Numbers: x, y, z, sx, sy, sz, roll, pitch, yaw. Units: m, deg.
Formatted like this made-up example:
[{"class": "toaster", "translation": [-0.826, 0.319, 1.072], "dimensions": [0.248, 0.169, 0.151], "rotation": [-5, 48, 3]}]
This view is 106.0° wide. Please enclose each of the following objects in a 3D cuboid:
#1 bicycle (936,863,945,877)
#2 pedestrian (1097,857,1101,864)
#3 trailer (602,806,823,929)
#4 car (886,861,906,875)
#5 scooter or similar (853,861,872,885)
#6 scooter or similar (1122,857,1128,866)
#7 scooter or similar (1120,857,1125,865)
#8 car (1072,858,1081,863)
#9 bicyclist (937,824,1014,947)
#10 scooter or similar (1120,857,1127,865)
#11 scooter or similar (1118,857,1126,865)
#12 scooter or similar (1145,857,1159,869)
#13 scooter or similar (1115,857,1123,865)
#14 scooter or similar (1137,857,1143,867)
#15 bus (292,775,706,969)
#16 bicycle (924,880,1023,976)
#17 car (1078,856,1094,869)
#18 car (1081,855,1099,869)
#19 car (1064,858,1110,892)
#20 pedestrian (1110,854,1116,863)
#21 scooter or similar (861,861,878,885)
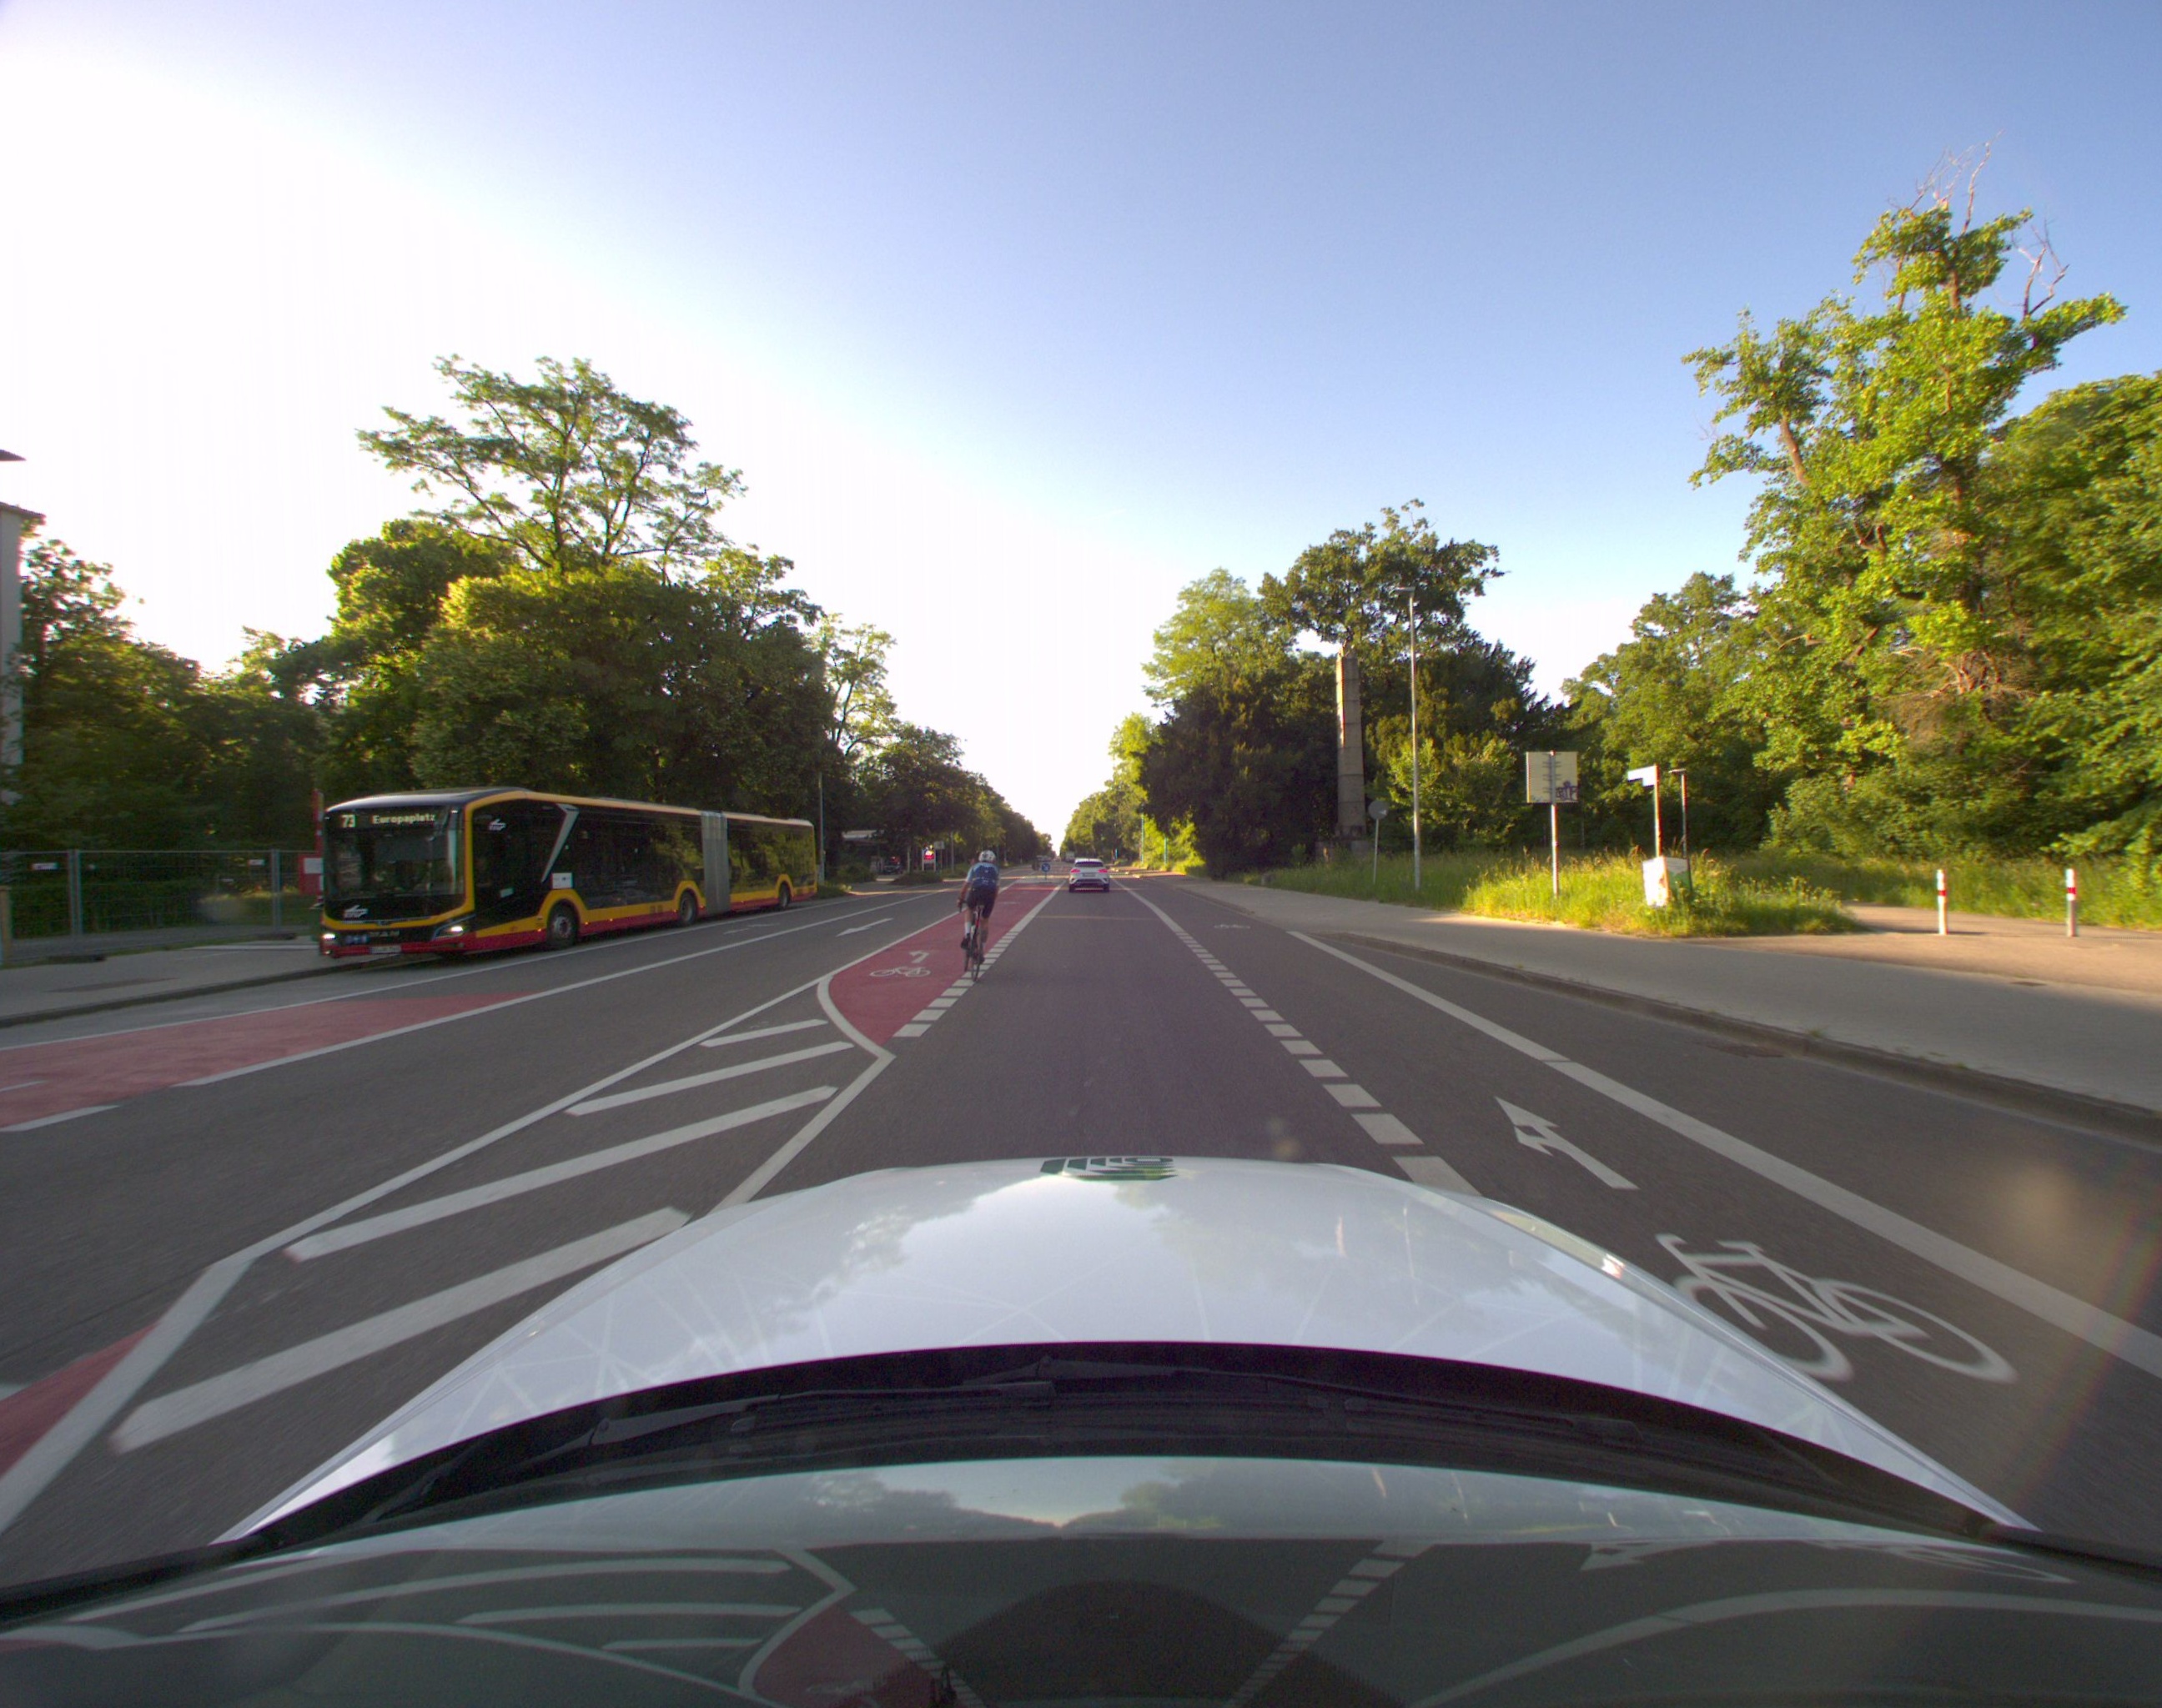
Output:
[{"class": "bicycle", "translation": [-13.090, 1.527, 76.027], "dimensions": [0.653, 1.250, 2.155], "rotation": [-2, 0, -6]}, {"class": "pedestrian", "translation": [4.253, 1.546, 193.243], "dimensions": [0.696, 1.653, 0.875], "rotation": [-2, 0, -2]}, {"class": "trailer", "translation": [-11.597, 0.408, 27.056], "dimensions": [2.844, 3.355, 9.364], "rotation": [0, -1, 1]}, {"class": "car", "translation": [-22.704, 1.695, 100.117], "dimensions": [1.708, 1.691, 4.445], "rotation": [-2, 0, -5]}, {"class": "scooter or similar", "translation": [-16.146, 1.413, 60.198], "dimensions": [0.825, 1.717, 1.740], "rotation": [-2, 0, 0]}, {"class": "scooter or similar", "translation": [6.908, 1.121, 128.053], "dimensions": [0.680, 1.423, 1.680], "rotation": [-1, 0, -2]}, {"class": "scooter or similar", "translation": [6.936, 1.150, 137.067], "dimensions": [0.680, 1.423, 1.681], "rotation": [-1, 0, -1]}, {"class": "car", "translation": [-1.280, 1.806, 225.927], "dimensions": [1.990, 1.327, 3.993], "rotation": [-2, 0, -5]}, {"class": "bicyclist", "translation": [-1.384, 0.407, 10.862], "dimensions": [0.856, 1.567, 0.882], "rotation": [0, 0, 4]}, {"class": "scooter or similar", "translation": [6.905, 1.133, 132.004], "dimensions": [0.683, 1.423, 1.673], "rotation": [-1, 0, -15]}, {"class": "scooter or similar", "translation": [6.750, 1.148, 134.071], "dimensions": [0.683, 1.423, 1.672], "rotation": [-1, 0, -17]}, {"class": "scooter or similar", "translation": [7.337, 0.957, 84.451], "dimensions": [1.550, 1.250, 0.528], "rotation": [-1, -1, -45]}, {"class": "scooter or similar", "translation": [6.316, 1.167, 135.738], "dimensions": [0.683, 1.423, 1.672], "rotation": [-1, 0, -17]}, {"class": "scooter or similar", "translation": [7.394, 1.015, 102.303], "dimensions": [0.531, 1.250, 1.540], "rotation": [-1, 0, -1]}, {"class": "bus", "translation": [-11.823, 0.319, 18.075], "dimensions": [2.830, 3.197, 8.600], "rotation": [-2, 0, 1]}, {"class": "bicycle", "translation": [-1.380, 0.925, 10.908], "dimensions": [0.887, 1.095, 2.138], "rotation": [0, 0, 4]}, {"class": "car", "translation": [0.613, 0.985, 95.939], "dimensions": [1.669, 1.417, 3.576], "rotation": [-2, 0, 2]}, {"class": "car", "translation": [1.009, 0.926, 96.289], "dimensions": [1.987, 1.519, 3.999], "rotation": [-2, 0, -1]}, {"class": "car", "translation": [0.218, 0.929, 37.465], "dimensions": [1.758, 1.459, 3.811], "rotation": [-1, 0, -5]}, {"class": "pedestrian", "translation": [5.411, 0.717, 136.291], "dimensions": [0.757, 1.563, 0.797], "rotation": [-2, 0, -19]}, {"class": "scooter or similar", "translation": [-16.109, 1.432, 62.141], "dimensions": [0.825, 1.717, 1.740], "rotation": [-2, 0, 0]}]
